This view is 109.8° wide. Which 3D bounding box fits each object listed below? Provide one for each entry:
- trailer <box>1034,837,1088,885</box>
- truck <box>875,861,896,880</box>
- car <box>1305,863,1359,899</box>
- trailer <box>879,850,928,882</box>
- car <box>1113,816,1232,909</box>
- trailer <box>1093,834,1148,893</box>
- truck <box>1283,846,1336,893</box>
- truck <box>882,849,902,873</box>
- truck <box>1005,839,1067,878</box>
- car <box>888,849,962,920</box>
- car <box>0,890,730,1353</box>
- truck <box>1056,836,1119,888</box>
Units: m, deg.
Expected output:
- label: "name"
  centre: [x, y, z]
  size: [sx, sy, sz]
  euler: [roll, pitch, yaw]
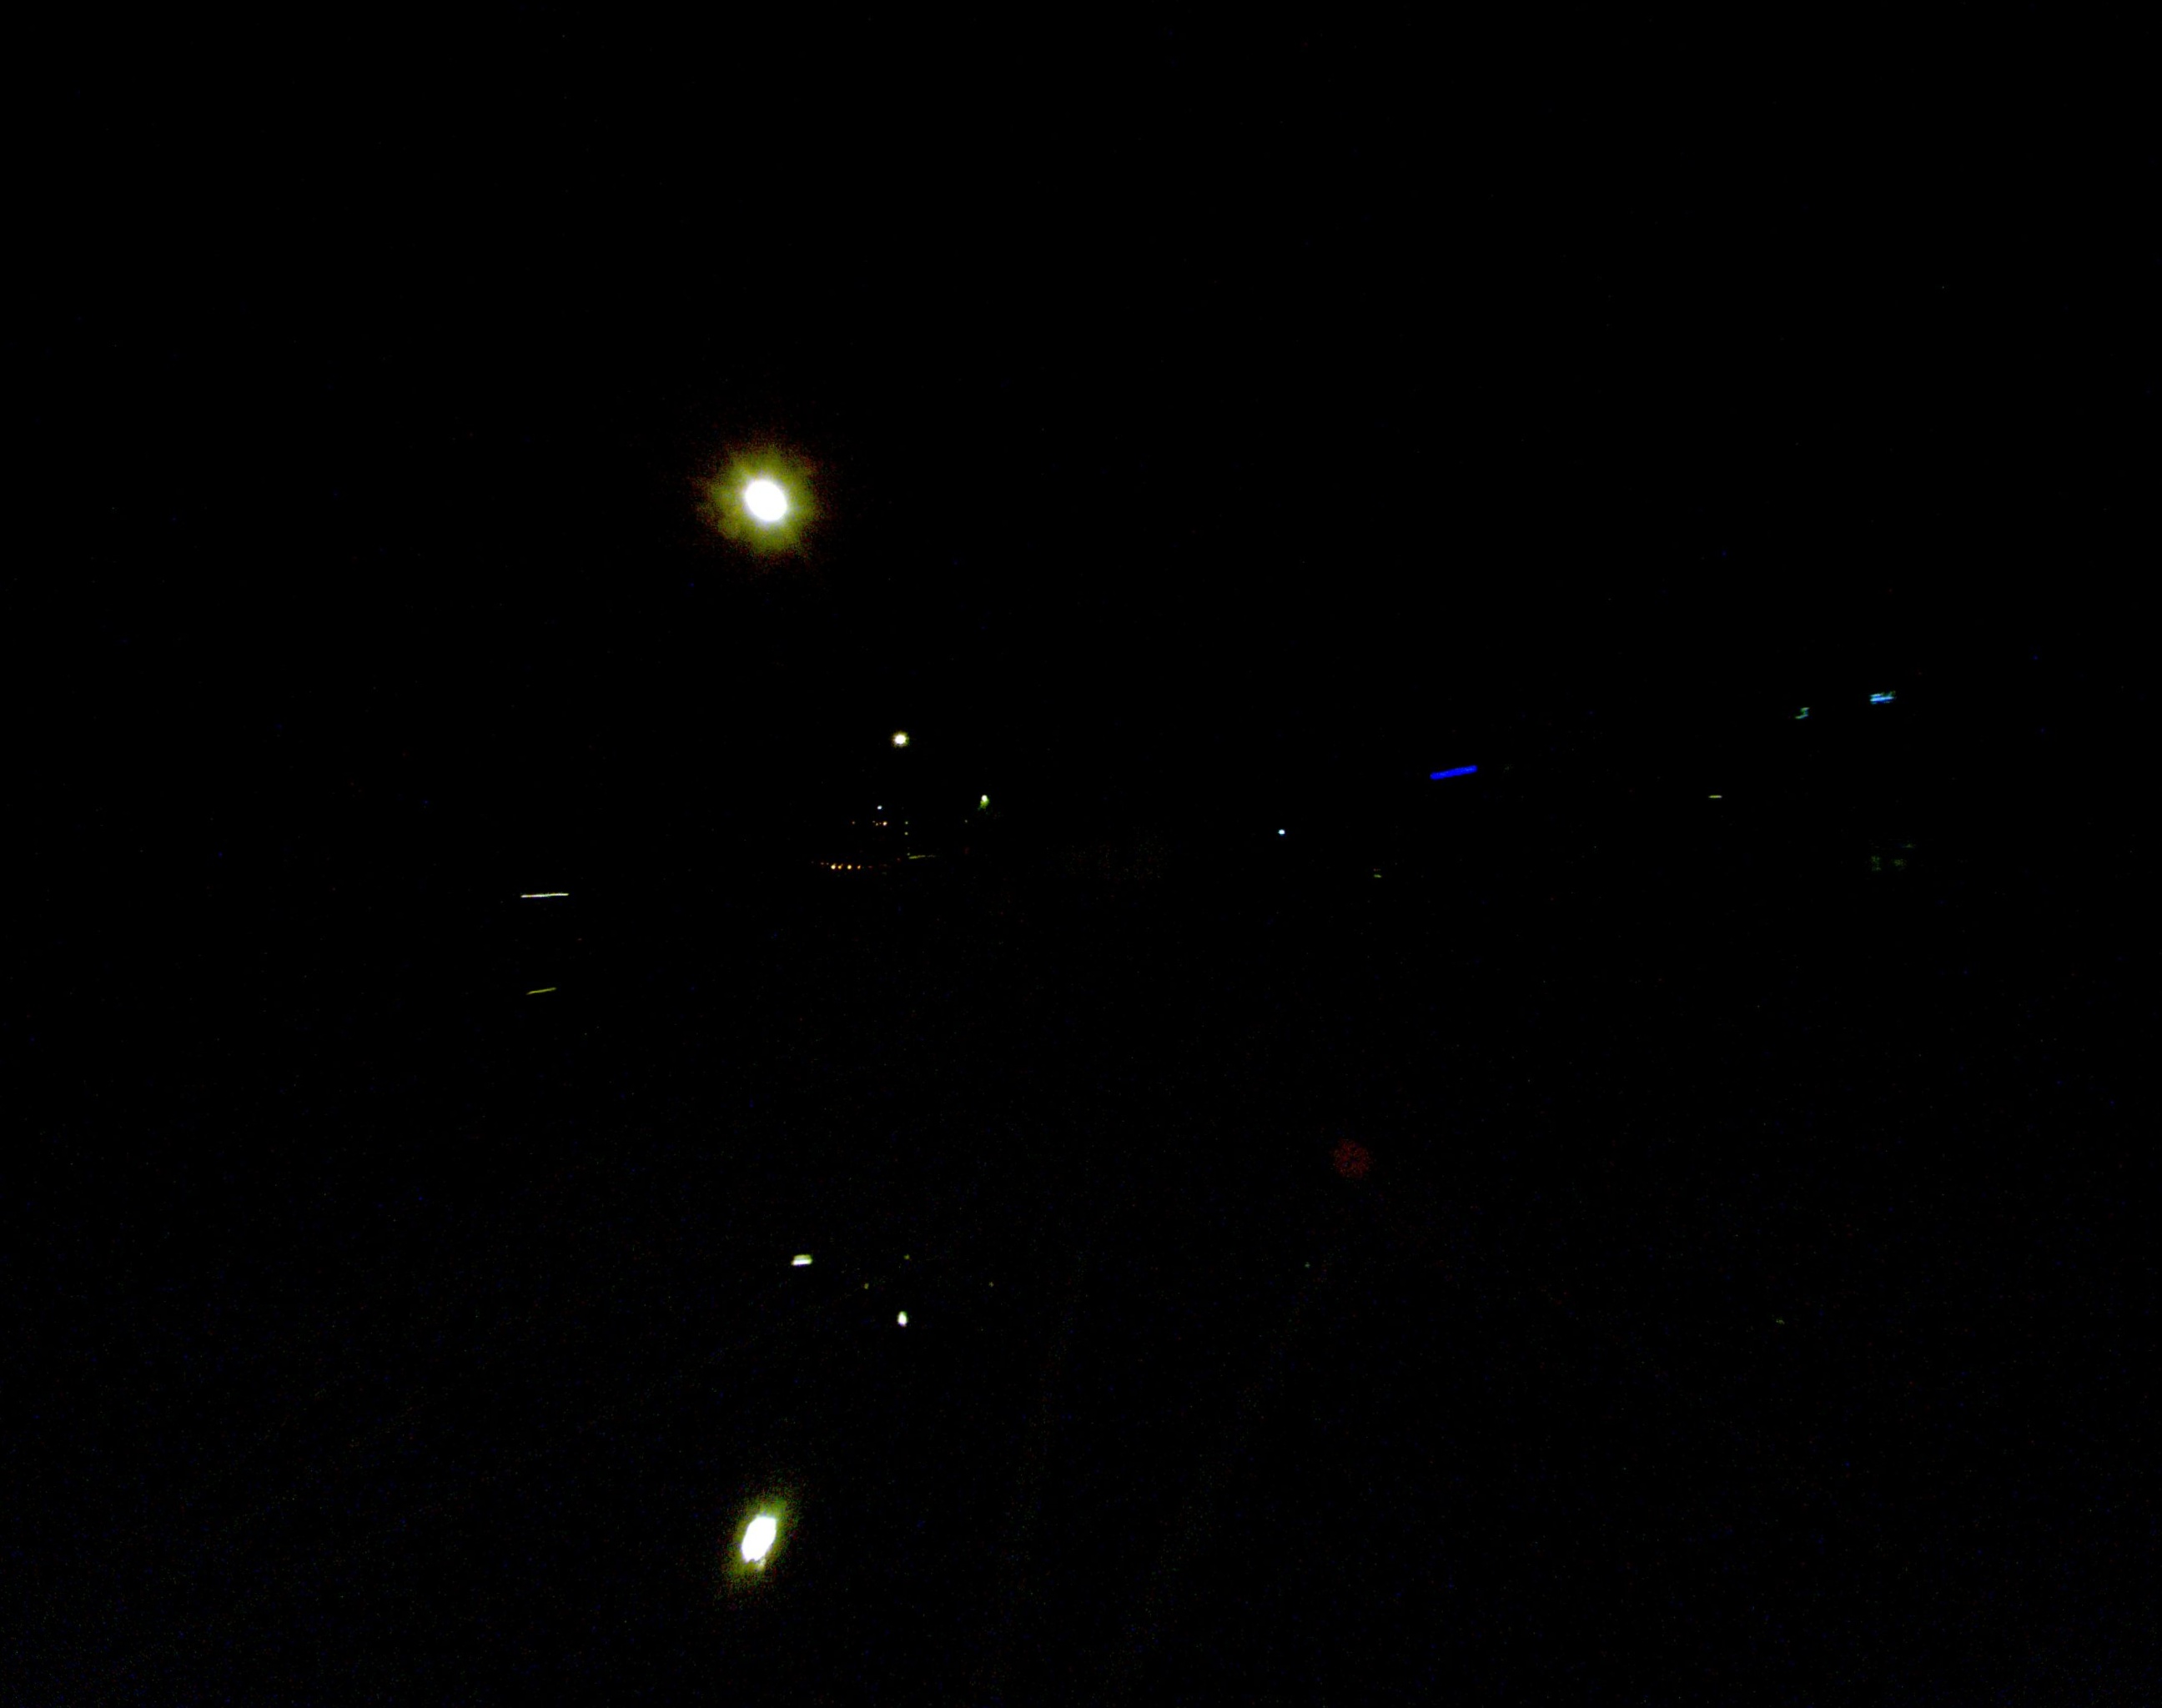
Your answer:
- label: "trailer"
  centre: [-1.532, 0.471, 52.755]
  size: [2.491, 3.054, 7.947]
  euler: [-1, 0, -10]
- label: "truck"
  centre: [-26.902, 2.204, 104.903]
  size: [2.408, 2.555, 6.400]
  euler: [0, 0, -11]
- label: "car"
  centre: [12.215, 1.281, 37.218]
  size: [1.861, 1.630, 4.003]
  euler: [0, 0, 8]
- label: "trailer"
  centre: [-11.789, 0.818, 50.328]
  size: [1.498, 2.002, 4.973]
  euler: [-1, 0, -33]
- label: "car"
  centre: [3.432, 0.314, 30.503]
  size: [2.390, 3.224, 7.224]
  euler: [-1, 0, -13]
- label: "trailer"
  centre: [1.886, 0.463, 37.602]
  size: [2.003, 2.749, 3.997]
  euler: [1, 0, -8]
- label: "truck"
  centre: [13.550, 0.861, 45.446]
  size: [2.136, 2.597, 7.105]
  euler: [0, 0, 10]
- label: "truck"
  centre: [-30.471, 1.156, 122.565]
  size: [3.060, 3.601, 9.590]
  euler: [-1, 0, -14]
- label: "truck"
  centre: [-3.927, 0.369, 63.519]
  size: [2.754, 3.047, 9.322]
  euler: [-1, 0, -19]
- label: "car"
  centre: [-5.006, 0.926, 25.078]
  size: [2.000, 2.002, 5.351]
  euler: [-3, 0, -8]
- label: "car"
  centre: [-3.929, 1.118, 4.769]
  size: [1.612, 1.503, 3.825]
  euler: [-4, 0, -1]
- label: "truck"
  centre: [0.254, 0.462, 44.265]
  size: [2.001, 2.767, 7.236]
  euler: [-1, 0, -13]
